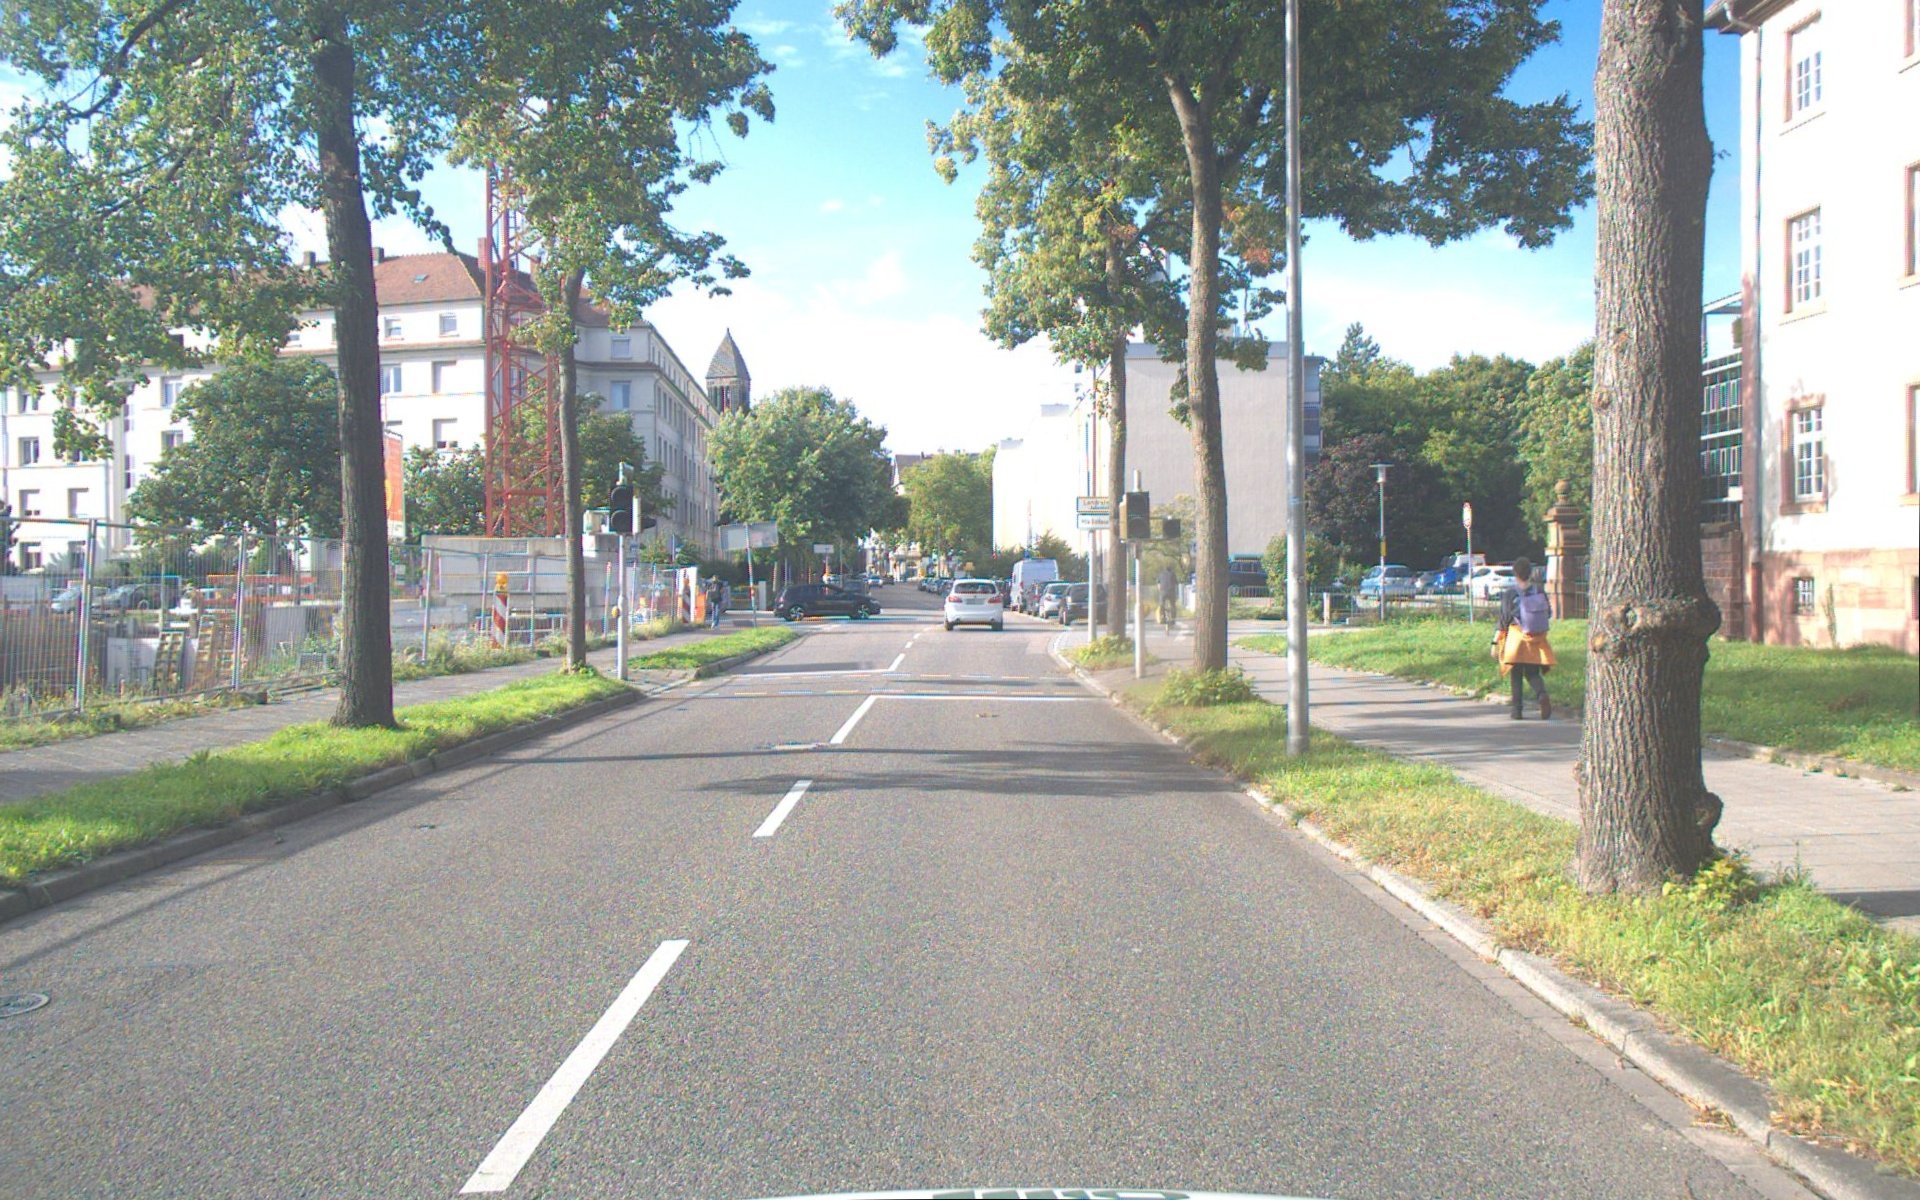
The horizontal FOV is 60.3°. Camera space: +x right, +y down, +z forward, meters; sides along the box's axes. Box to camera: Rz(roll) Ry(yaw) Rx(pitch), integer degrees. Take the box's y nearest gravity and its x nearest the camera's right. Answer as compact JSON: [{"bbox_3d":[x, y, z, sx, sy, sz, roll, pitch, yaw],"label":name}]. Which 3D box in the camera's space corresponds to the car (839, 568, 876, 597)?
[{"bbox_3d":[-6.198,-1.039,99.402,1.955,1.668,3.994,-2,1,-7],"label":"car"}]

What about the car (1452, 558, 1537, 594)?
[{"bbox_3d":[23.173,-1.036,71.865,1.956,1.467,3.994,-2,1,-7],"label":"car"}]

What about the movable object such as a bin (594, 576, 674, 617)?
[{"bbox_3d":[-14.095,-0.155,71.598,3.037,1.737,1.549,0,0,14],"label":"movable object such as a bin"}]

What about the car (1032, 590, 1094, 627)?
[{"bbox_3d":[4.438,0.358,71.835,1.976,1.500,4.797,-2,0,-5],"label":"car"}]

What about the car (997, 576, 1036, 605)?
[{"bbox_3d":[3.189,-0.562,94.075,1.953,1.601,3.999,-1,1,-1],"label":"car"}]

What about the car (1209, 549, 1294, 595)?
[{"bbox_3d":[14.851,-1.444,84.390,4.033,2.224,2.001,-1,1,3],"label":"car"}]

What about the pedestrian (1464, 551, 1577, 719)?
[{"bbox_3d":[5.691,0.345,16.831,0.797,1.618,0.769,-3,0,-1],"label":"pedestrian"}]

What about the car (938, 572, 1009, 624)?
[{"bbox_3d":[0.379,-0.070,52.045,1.954,1.582,4.271,0,0,-3],"label":"car"}]

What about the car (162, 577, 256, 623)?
[{"bbox_3d":[-35.604,-0.011,78.525,1.951,2.049,4.003,-1,1,15],"label":"car"}]

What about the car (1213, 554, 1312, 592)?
[{"bbox_3d":[14.296,-1.273,78.279,4.355,1.650,2.001,-1,1,3],"label":"car"}]

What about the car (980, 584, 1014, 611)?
[{"bbox_3d":[2.316,-0.164,104.682,1.953,1.601,3.999,-1,1,-1],"label":"car"}]

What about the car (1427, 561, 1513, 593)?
[{"bbox_3d":[27.236,-1.239,88.381,3.906,1.579,2.000,-2,1,-2],"label":"car"}]

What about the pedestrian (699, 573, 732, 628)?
[{"bbox_3d":[-7.903,0.024,53.392,0.989,1.758,1.174,0,0,-12],"label":"pedestrian"}]

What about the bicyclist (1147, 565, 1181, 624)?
[{"bbox_3d":[5.516,-0.142,44.654,0.722,1.540,0.874,-3,0,-1],"label":"bicyclist"}]

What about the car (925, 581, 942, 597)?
[{"bbox_3d":[-3.042,-1.259,191.448,1.953,1.785,4.000,0,0,0],"label":"car"}]

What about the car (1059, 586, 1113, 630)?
[{"bbox_3d":[4.562,0.278,60.467,1.682,1.522,4.268,-1,0,1],"label":"car"}]

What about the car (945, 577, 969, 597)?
[{"bbox_3d":[-0.296,-1.129,142.160,1.953,1.601,3.999,-1,1,-1],"label":"car"}]

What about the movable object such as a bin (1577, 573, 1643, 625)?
[{"bbox_3d":[16.036,-0.039,40.841,1.167,1.252,1.092,0,1,-4],"label":"movable object such as a bin"}]

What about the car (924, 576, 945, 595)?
[{"bbox_3d":[-2.467,-1.385,160.565,1.953,1.785,4.000,0,0,0],"label":"car"}]

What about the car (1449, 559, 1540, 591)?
[{"bbox_3d":[26.895,-1.263,83.252,3.906,1.512,2.000,-2,1,-2],"label":"car"}]

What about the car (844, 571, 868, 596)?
[{"bbox_3d":[-9.168,-1.467,145.966,1.953,2.048,3.999,-1,1,-1],"label":"car"}]

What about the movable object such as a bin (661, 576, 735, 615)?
[{"bbox_3d":[-12.041,-0.217,76.034,3.037,1.737,1.411,0,0,13],"label":"movable object such as a bin"}]

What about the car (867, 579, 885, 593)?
[{"bbox_3d":[-10.858,-1.796,214.238,2.016,1.692,3.921,-2,1,-7],"label":"car"}]

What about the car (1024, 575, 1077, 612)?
[{"bbox_3d":[4.161,-0.327,76.960,1.954,1.644,4.405,-2,1,-3],"label":"car"}]

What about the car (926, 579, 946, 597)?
[{"bbox_3d":[-2.467,-1.230,170.646,1.953,1.785,4.000,0,0,0],"label":"car"}]

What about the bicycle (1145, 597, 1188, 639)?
[{"bbox_3d":[5.555,0.475,44.666,0.725,1.053,2.762,-3,0,-1],"label":"bicycle"}]

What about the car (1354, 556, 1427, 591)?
[{"bbox_3d":[18.727,-1.150,72.173,1.954,1.467,3.998,-2,1,-3],"label":"car"}]

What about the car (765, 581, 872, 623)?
[{"bbox_3d":[-5.573,0.059,64.987,3.922,1.598,1.992,0,1,-16],"label":"car"}]

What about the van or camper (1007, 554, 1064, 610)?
[{"bbox_3d":[3.739,-0.928,83.147,2.166,2.652,5.367,-1,1,-4],"label":"van or camper"}]
